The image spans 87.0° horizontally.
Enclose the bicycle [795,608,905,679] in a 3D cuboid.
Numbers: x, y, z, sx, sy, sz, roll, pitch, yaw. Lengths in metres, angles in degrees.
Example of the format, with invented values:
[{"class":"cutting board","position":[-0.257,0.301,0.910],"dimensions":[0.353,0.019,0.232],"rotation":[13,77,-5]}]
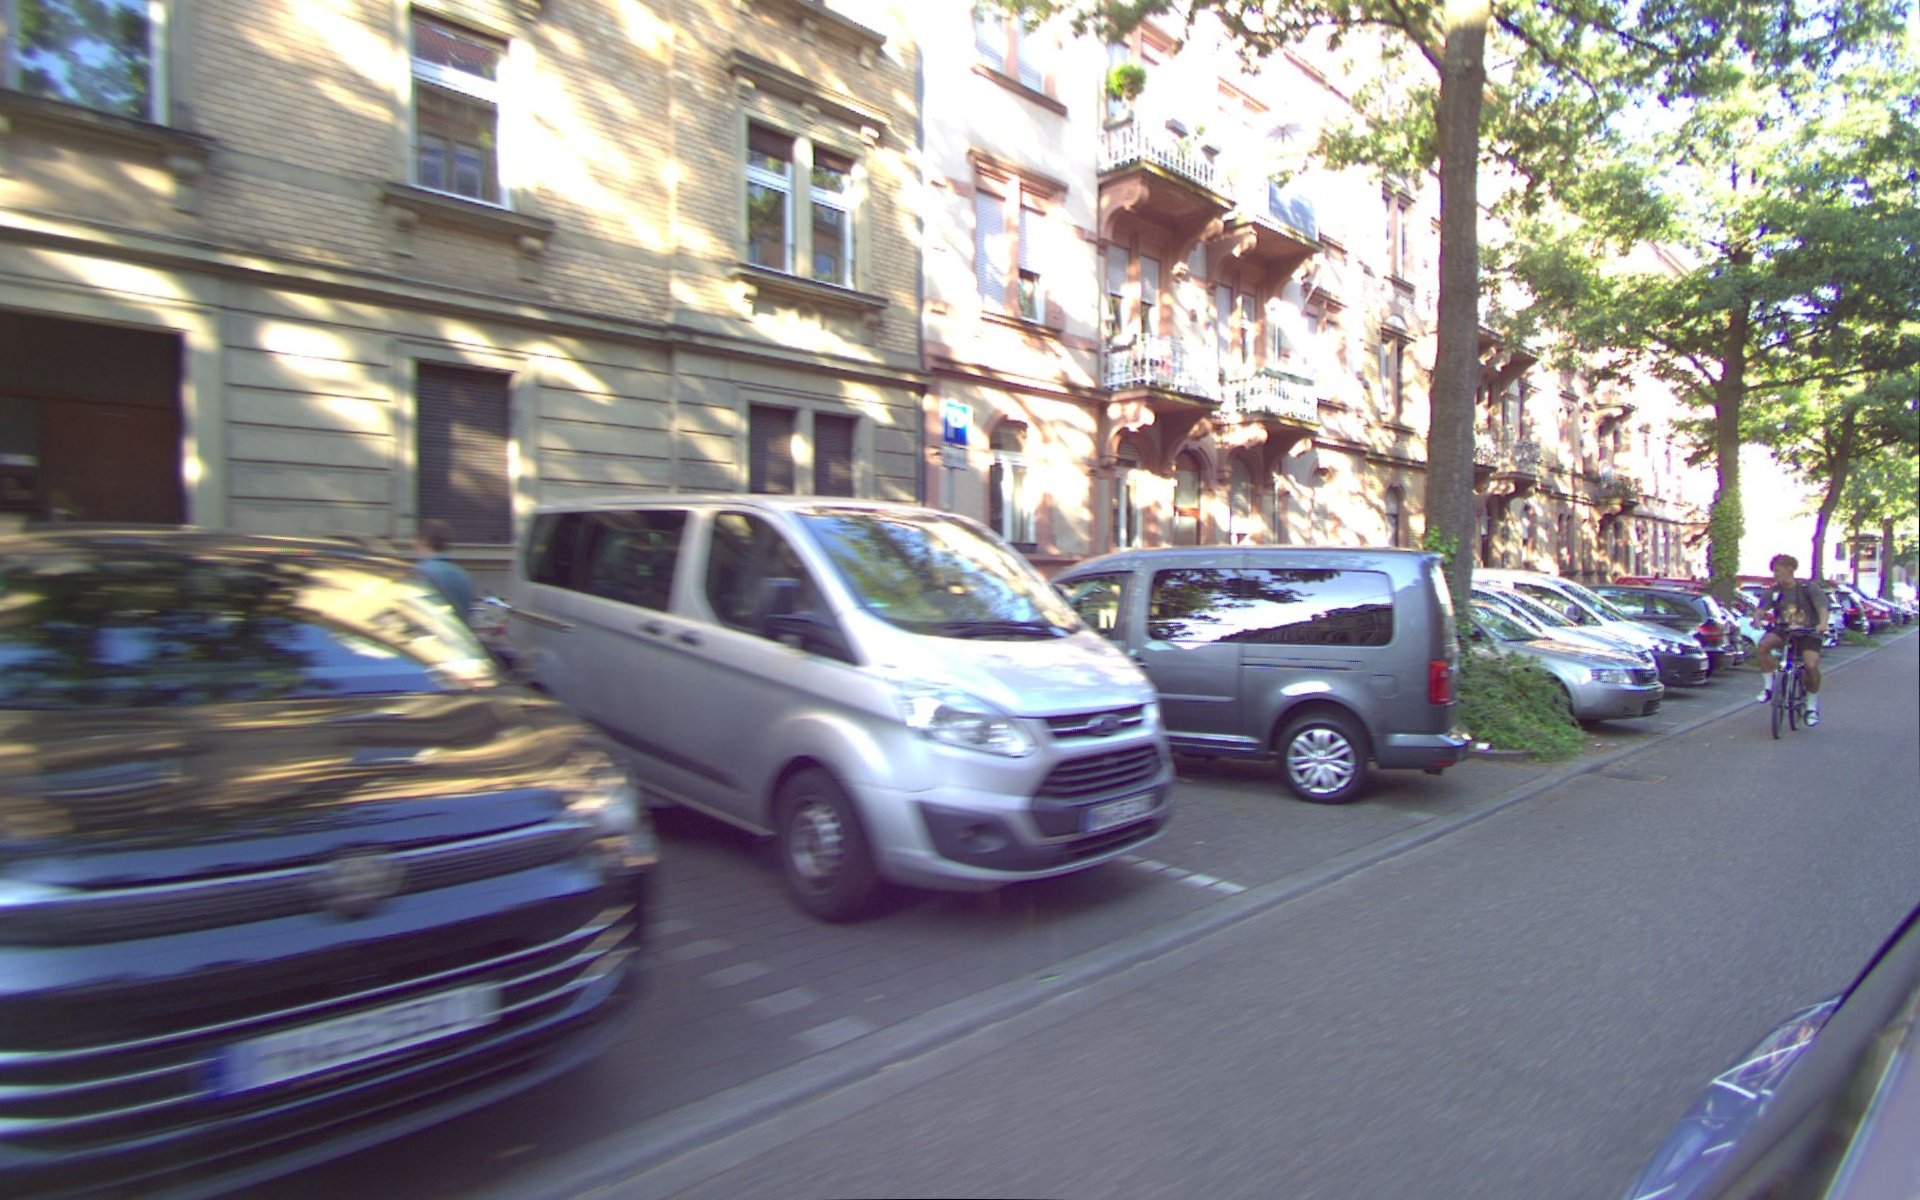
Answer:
[{"class":"bicycle","position":[-1.426,0.550,13.340],"dimensions":[1.553,0.866,0.343],"rotation":[-1,0,-42]}]

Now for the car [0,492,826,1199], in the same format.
[{"class":"car","position":[-2.860,0.510,3.830],"dimensions":[4.922,1.652,2.046],"rotation":[4,3,44]}]

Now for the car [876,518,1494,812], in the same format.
[{"class":"car","position":[1.775,0.343,8.472],"dimensions":[4.631,1.914,1.891],"rotation":[2,1,26]}]

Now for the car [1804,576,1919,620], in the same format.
[{"class":"car","position":[38.602,-0.099,42.879],"dimensions":[1.750,1.548,4.055],"rotation":[-1,6,-42]}]

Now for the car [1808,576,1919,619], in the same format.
[{"class":"car","position":[40.068,-0.122,44.415],"dimensions":[1.750,1.548,4.055],"rotation":[-1,6,-42]}]

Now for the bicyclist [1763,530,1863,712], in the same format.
[{"class":"bicyclist","position":[9.446,0.206,11.199],"dimensions":[1.102,1.899,0.711],"rotation":[0,1,-43]}]

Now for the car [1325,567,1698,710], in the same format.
[{"class":"car","position":[7.606,0.403,14.248],"dimensions":[1.872,1.623,4.234],"rotation":[0,3,-45]}]

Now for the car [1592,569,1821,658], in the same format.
[{"class":"car","position":[16.873,0.229,23.016],"dimensions":[1.708,1.703,3.843],"rotation":[0,4,-41]}]

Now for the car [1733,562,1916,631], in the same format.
[{"class":"car","position":[30.910,-0.193,36.304],"dimensions":[1.893,2.000,4.698],"rotation":[0,6,-42]}]

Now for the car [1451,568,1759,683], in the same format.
[{"class":"car","position":[11.187,0.338,17.780],"dimensions":[1.710,1.607,4.237],"rotation":[0,4,-44]}]

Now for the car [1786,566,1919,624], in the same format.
[{"class":"car","position":[36.393,-0.265,41.099],"dimensions":[1.750,1.956,4.055],"rotation":[0,5,-42]}]

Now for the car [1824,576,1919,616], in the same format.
[{"class":"car","position":[41.966,-0.178,45.831],"dimensions":[1.750,1.548,4.055],"rotation":[-1,6,-42]}]

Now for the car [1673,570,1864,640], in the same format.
[{"class":"car","position":[23.686,0.093,29.769],"dimensions":[1.750,1.640,4.056],"rotation":[0,6,-42]}]

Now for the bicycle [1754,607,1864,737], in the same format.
[{"class":"bicycle","position":[9.398,0.740,11.182],"dimensions":[1.856,1.275,0.711],"rotation":[-1,1,-43]}]

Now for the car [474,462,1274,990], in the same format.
[{"class":"car","position":[-0.907,0.316,6.170],"dimensions":[4.922,1.924,2.142],"rotation":[4,3,44]}]

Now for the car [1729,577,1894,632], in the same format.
[{"class":"car","position":[29.016,0.112,34.572],"dimensions":[1.750,1.472,4.055],"rotation":[-1,6,-42]}]

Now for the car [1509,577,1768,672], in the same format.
[{"class":"car","position":[12.999,0.386,19.544],"dimensions":[1.710,1.478,3.839],"rotation":[0,4,-44]}]

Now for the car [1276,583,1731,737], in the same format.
[{"class":"car","position":[6.327,0.554,12.234],"dimensions":[1.870,1.384,4.467],"rotation":[0,3,-41]}]

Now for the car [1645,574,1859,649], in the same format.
[{"class":"car","position":[20.434,0.233,26.232],"dimensions":[1.750,1.599,4.056],"rotation":[0,4,-41]}]

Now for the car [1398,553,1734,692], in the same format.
[{"class":"car","position":[9.455,0.313,16.072],"dimensions":[1.752,1.910,4.237],"rotation":[0,0,-41]}]

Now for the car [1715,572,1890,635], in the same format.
[{"class":"car","position":[27.170,0.050,32.751],"dimensions":[1.750,1.640,4.056],"rotation":[0,6,-42]}]

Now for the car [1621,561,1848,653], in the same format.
[{"class":"car","position":[18.704,0.103,24.584],"dimensions":[1.750,1.909,4.056],"rotation":[0,4,-41]}]

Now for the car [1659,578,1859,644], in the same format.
[{"class":"car","position":[22.127,0.247,28.138],"dimensions":[1.750,1.499,4.056],"rotation":[0,4,-41]}]
